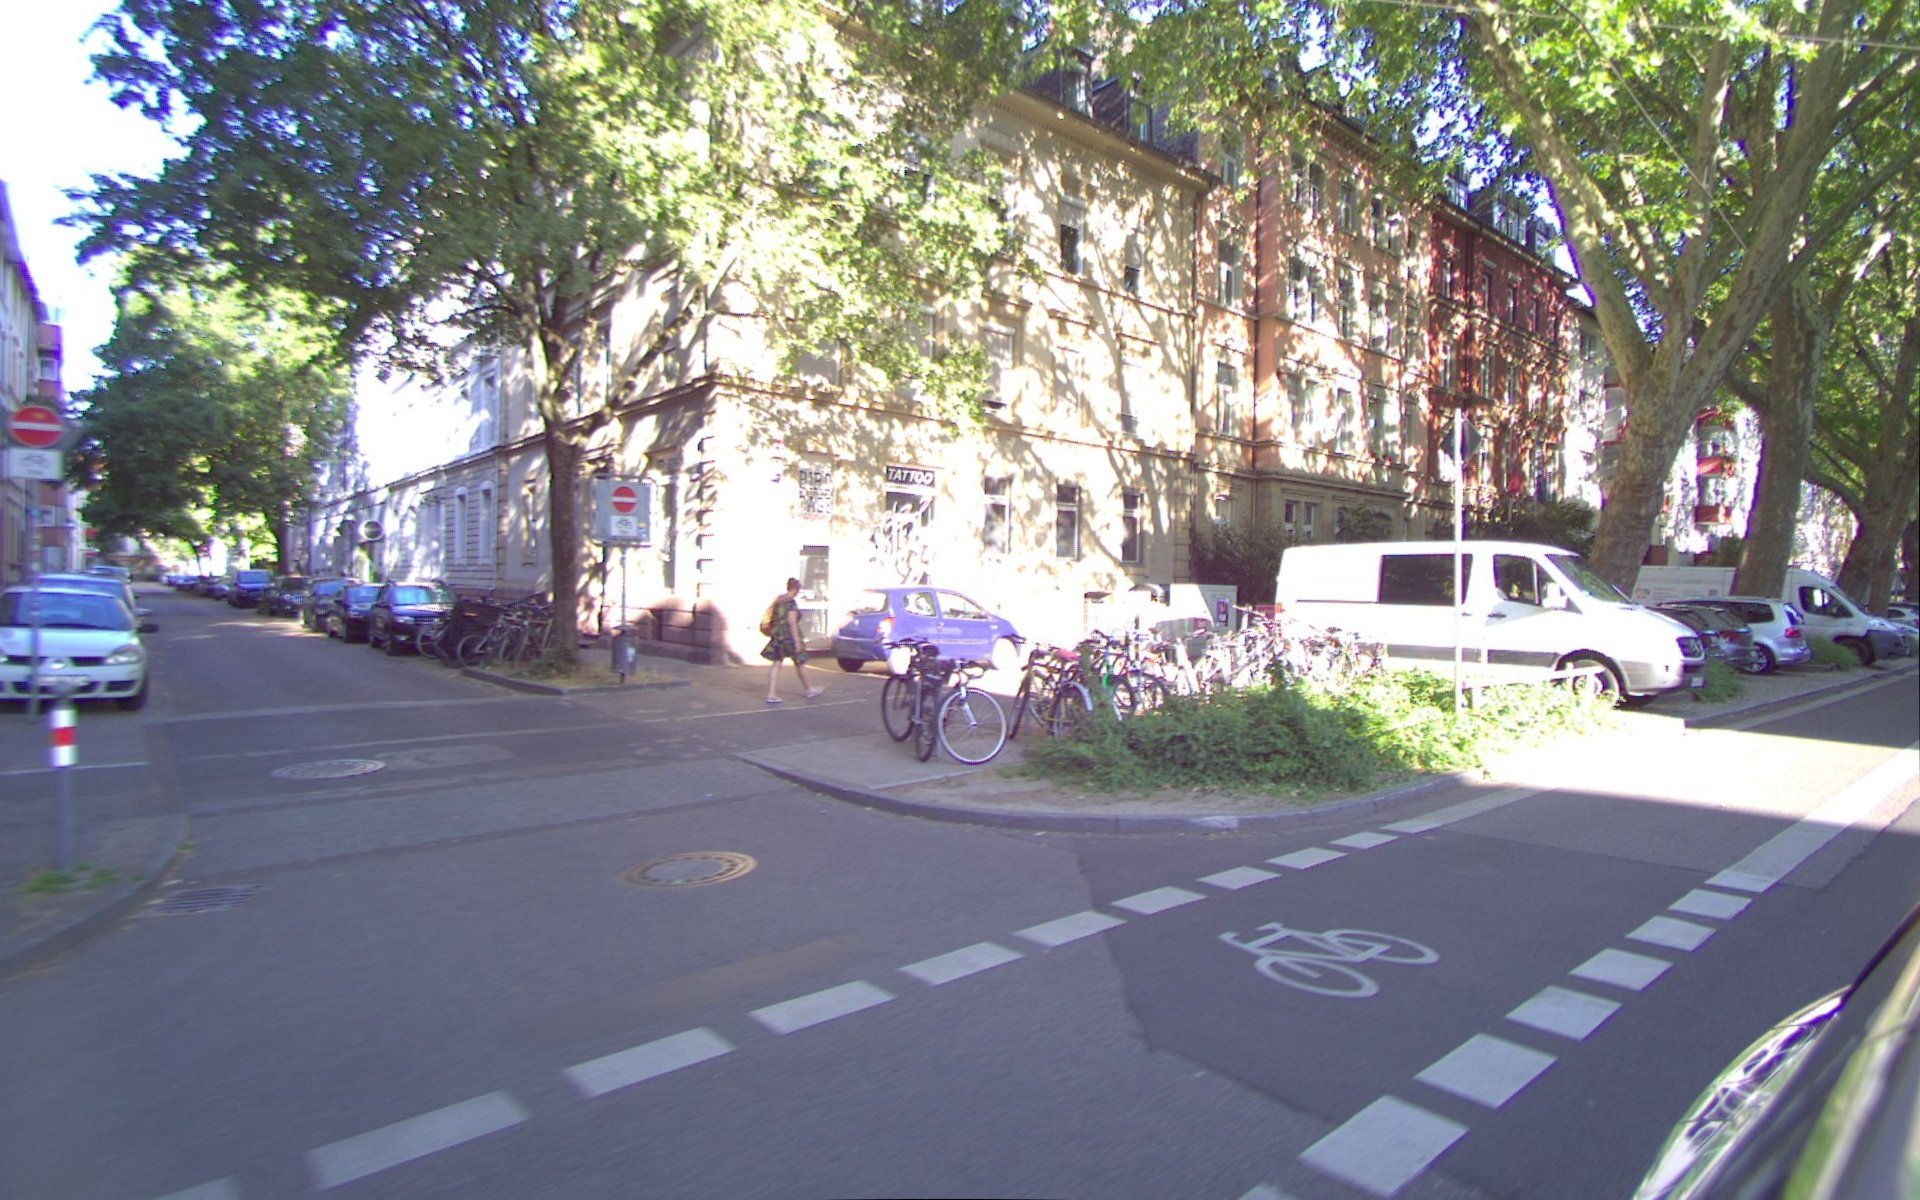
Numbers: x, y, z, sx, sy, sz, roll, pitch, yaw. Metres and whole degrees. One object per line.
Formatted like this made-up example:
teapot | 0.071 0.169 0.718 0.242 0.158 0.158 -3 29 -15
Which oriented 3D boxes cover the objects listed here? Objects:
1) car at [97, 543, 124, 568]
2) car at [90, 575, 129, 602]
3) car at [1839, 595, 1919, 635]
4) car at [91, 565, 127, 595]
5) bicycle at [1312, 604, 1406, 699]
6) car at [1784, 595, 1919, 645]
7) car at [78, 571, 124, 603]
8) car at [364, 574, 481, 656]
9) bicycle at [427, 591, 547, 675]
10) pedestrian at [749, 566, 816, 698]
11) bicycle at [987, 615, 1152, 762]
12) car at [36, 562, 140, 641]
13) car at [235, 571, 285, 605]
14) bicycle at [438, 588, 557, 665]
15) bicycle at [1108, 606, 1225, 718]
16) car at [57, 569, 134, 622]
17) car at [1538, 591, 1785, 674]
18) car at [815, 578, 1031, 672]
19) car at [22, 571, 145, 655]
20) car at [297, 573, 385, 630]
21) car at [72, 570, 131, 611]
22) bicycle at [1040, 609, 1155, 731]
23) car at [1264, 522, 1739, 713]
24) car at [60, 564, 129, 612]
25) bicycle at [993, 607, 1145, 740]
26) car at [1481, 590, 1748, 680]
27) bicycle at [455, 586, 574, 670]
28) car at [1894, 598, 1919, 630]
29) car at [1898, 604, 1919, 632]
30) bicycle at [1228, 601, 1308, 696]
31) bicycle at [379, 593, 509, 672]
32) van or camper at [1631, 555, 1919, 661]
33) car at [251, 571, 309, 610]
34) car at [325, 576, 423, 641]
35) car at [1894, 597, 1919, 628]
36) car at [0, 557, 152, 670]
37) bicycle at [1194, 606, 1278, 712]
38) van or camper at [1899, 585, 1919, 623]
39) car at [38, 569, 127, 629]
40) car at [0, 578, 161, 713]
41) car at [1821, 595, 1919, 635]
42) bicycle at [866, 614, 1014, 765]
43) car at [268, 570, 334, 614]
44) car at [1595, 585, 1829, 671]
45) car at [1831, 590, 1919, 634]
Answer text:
car | -65.117 -3.398 77.593 1.475 1.799 3.415 3 -1 -39
car | -50.387 -0.698 59.996 1.624 1.509 3.416 3 -1 -39
car | 41.753 0.643 44.646 1.713 1.673 4.296 0 1 -42
car | -54.624 -1.273 65.015 1.625 1.799 3.415 3 -1 -39
bicycle | 5.528 0.671 14.147 0.405 1.193 2.050 0 1 -3
car | 30.853 0.656 34.535 1.658 1.498 3.963 0 2 -40
car | -44.458 -0.682 52.440 1.624 1.509 3.416 3 -1 -39
car | -12.286 0.248 23.019 1.819 1.618 4.000 -3 3 -35
bicycle | -8.071 0.530 17.353 0.503 1.301 1.888 0 2 31
pedestrian | -2.329 0.399 13.308 0.587 1.672 0.703 0 1 24
bicycle | 0.977 0.775 9.637 0.405 1.193 2.050 0 1 -31
car | -20.516 0.009 23.928 1.624 1.679 4.141 3 -1 -38
car | -34.691 -0.642 50.096 1.820 1.549 3.868 -3 3 -37
bicycle | -8.849 0.481 19.408 1.973 1.333 0.522 -3 1 -41
bicycle | 2.467 0.695 12.323 0.404 1.193 2.053 0 1 -19
car | -26.686 -0.158 31.314 1.624 1.509 3.416 3 -1 -39
car | 14.693 0.603 21.360 1.764 1.497 3.963 0 1 -40
car | -0.584 0.386 17.658 3.511 1.474 1.734 0 0 -44
car | -17.254 0.229 20.055 1.624 1.509 3.416 3 -1 -39
car | -18.679 -0.016 30.454 1.820 1.549 3.998 -3 3 -37
car | -34.439 -0.395 40.667 1.624 1.509 3.416 3 -1 -39
bicycle | 1.497 0.724 11.382 0.404 1.193 2.053 0 1 -19
car | 7.752 0.153 15.244 1.969 2.311 6.007 1 1 -38
car | -29.989 -0.422 35.148 1.624 1.509 3.416 3 -1 -39
bicycle | 1.063 0.688 10.401 0.405 1.193 2.050 0 1 -31
car | 12.642 0.595 19.745 1.765 1.478 4.061 0 1 -41
bicycle | -7.391 0.428 16.900 0.503 1.271 1.889 0 2 28
car | 46.530 0.727 47.568 3.827 1.462 1.673 3 0 44
car | 54.210 1.031 55.782 1.649 1.550 3.568 0 1 -42
bicycle | 4.305 0.639 14.290 0.405 1.193 2.050 0 1 -3
bicycle | -9.170 0.544 18.045 0.506 1.301 2.013 1 1 44
van or camper | 21.724 0.108 26.979 2.070 2.522 6.045 0 1 -40
car | -29.475 -0.452 43.831 1.820 1.549 3.868 -3 3 -37
car | -15.474 0.160 26.637 1.819 1.485 4.000 -3 3 -35
car | 48.390 0.655 49.147 1.877 1.500 4.207 0 2 -39
car | -14.416 0.191 16.605 1.661 1.637 3.683 3 -1 -40
bicycle | 3.464 0.694 12.851 0.405 1.193 2.050 0 1 -3
van or camper | 56.266 0.283 57.306 1.808 2.136 4.381 0 2 -43
car | -23.761 -0.039 27.496 1.624 1.509 3.416 3 -1 -39
car | -11.263 0.483 12.631 1.663 1.429 3.680 3 -1 -43
car | 37.953 0.605 41.660 1.632 1.514 3.615 0 1 -41
bicycle | -0.245 0.759 9.391 0.405 1.193 2.050 0 1 -31
car | -25.323 -0.356 38.842 1.820 1.549 3.998 -3 3 -37
car | 16.773 0.539 22.707 1.766 1.676 3.960 -1 2 -42
car | 39.729 0.515 42.916 1.773 1.767 4.002 1 1 -40
